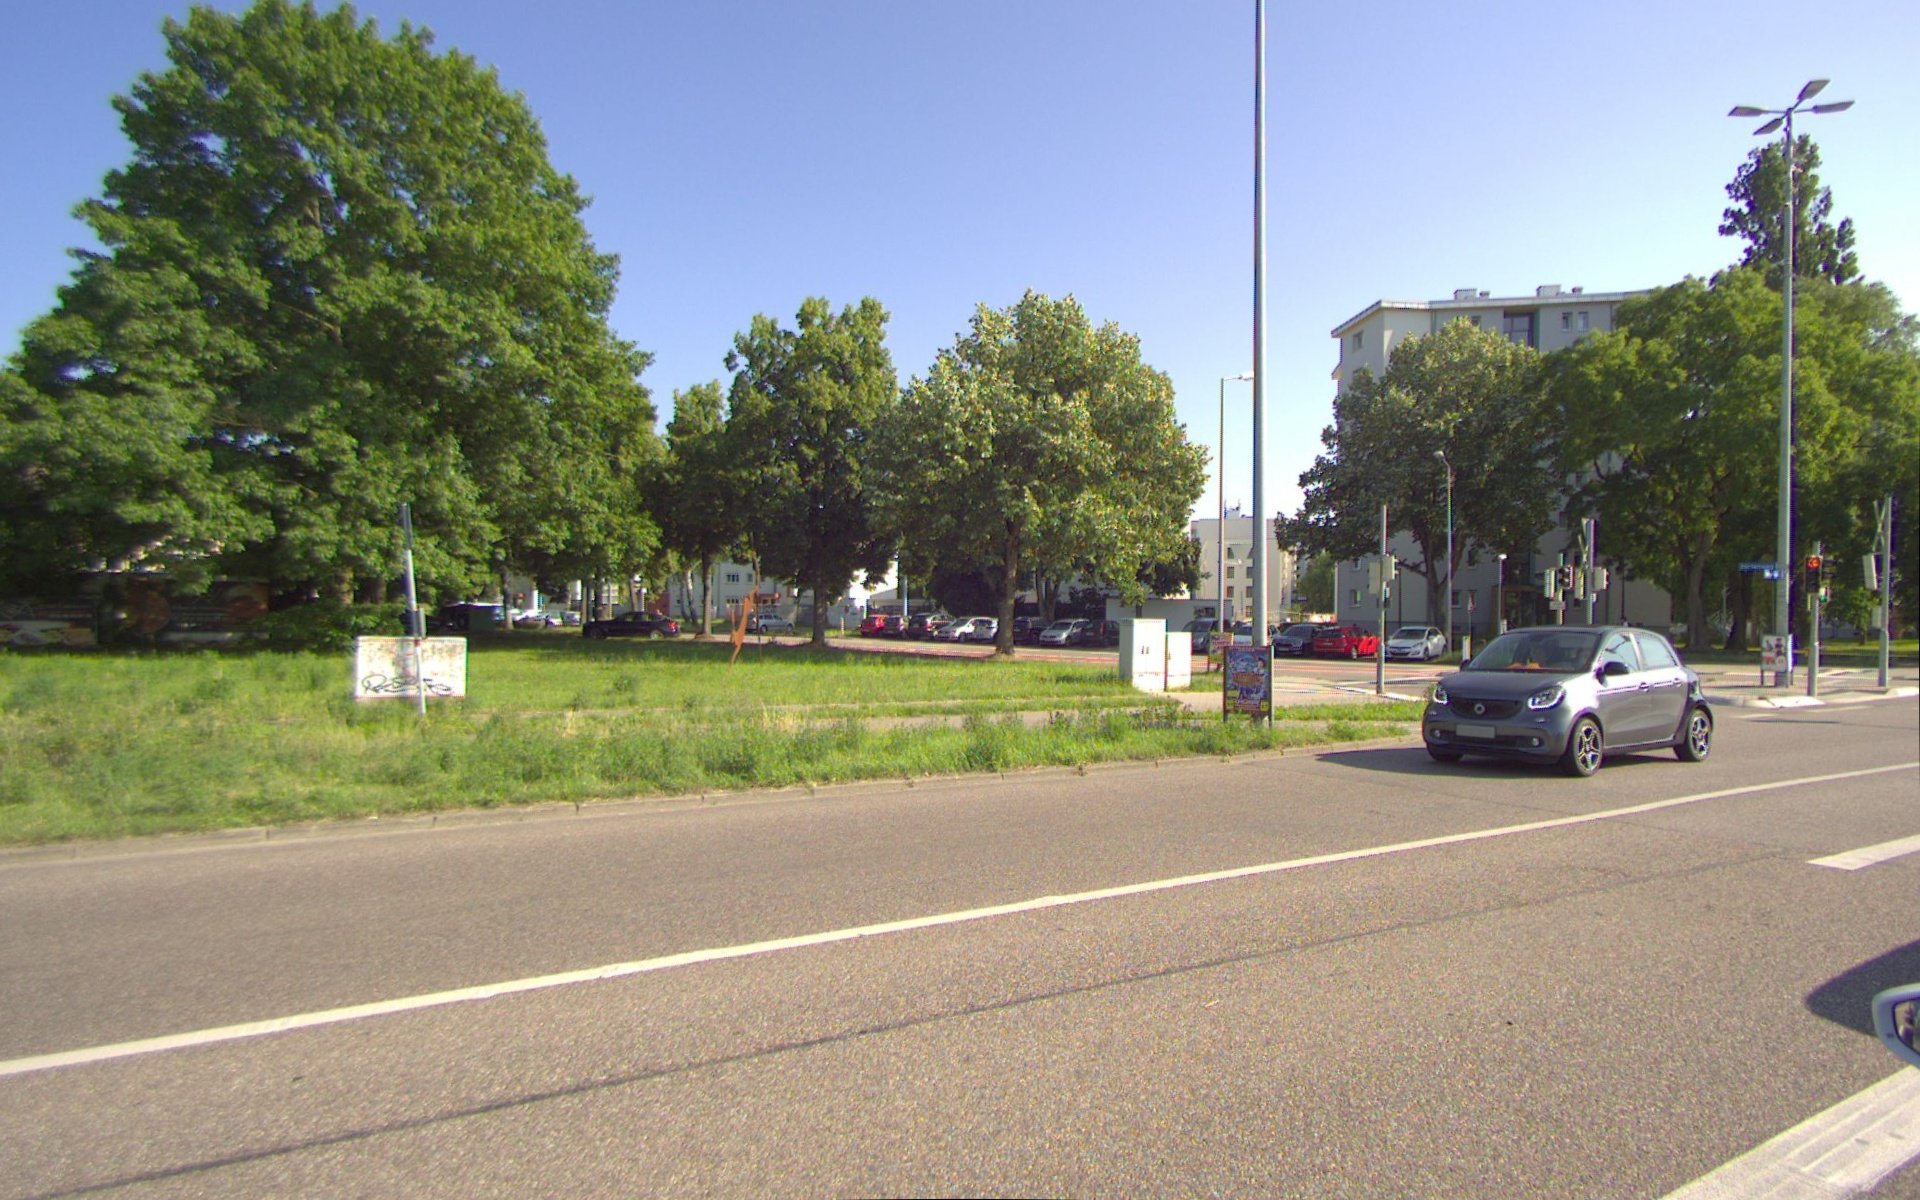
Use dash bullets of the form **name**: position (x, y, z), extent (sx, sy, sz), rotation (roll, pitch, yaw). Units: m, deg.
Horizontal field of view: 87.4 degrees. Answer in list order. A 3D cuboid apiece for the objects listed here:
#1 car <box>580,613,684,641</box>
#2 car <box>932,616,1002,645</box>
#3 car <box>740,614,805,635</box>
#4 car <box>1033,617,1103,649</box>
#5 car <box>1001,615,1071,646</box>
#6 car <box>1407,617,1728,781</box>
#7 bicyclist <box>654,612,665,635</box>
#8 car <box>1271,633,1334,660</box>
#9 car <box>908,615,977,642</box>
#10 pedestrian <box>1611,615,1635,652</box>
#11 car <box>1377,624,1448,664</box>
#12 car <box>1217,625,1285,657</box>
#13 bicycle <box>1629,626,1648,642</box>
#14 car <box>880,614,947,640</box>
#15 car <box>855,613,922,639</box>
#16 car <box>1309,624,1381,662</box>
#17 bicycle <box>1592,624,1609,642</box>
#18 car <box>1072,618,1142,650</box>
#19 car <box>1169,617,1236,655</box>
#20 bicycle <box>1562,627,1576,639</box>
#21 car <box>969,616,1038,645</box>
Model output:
- **car**: position (-16.267, 1.328, 49.927), extent (4.682, 1.338, 1.524), rotation (1, -1, -8)
- **car**: position (0.495, 1.864, 62.694), extent (1.758, 1.497, 4.791), rotation (0, 2, 39)
- **car**: position (-14.215, 1.860, 76.307), extent (1.760, 1.497, 4.786), rotation (0, -1, 43)
- **car**: position (6.254, 1.838, 57.801), extent (1.758, 1.497, 4.692), rotation (0, 3, 39)
- **car**: position (4.594, 1.798, 59.877), extent (1.758, 1.497, 4.791), rotation (0, 3, 39)
- **car**: position (6.933, 1.023, 11.409), extent (3.634, 1.581, 1.625), rotation (1, -2, -31)
- **bicyclist**: position (-20.440, 1.599, 68.310), extent (0.611, 1.544, 0.622), rotation (-1, 1, -33)
- **car**: position (16.624, 2.206, 48.672), extent (1.445, 1.209, 3.765), rotation (0, -1, 43)
- **car**: position (-1.077, 1.814, 64.618), extent (1.758, 1.497, 4.791), rotation (0, 2, 39)
- **pedestrian**: position (31.461, 1.593, 47.655), extent (0.693, 1.736, 0.623), rotation (-1, 0, -18)
- **car**: position (20.424, 1.937, 45.294), extent (1.760, 1.459, 3.977), rotation (0, 2, 43)
- **car**: position (14.688, 2.022, 50.558), extent (1.759, 1.541, 3.979), rotation (0, -1, 41)
- **bicycle**: position (42.662, 2.138, 63.164), extent (0.658, 0.932, 2.404), rotation (1, -1, 26)
- **car**: position (-3.058, 1.756, 66.870), extent (1.758, 1.497, 4.791), rotation (0, 2, 39)
- **car**: position (-4.822, 1.749, 68.337), extent (1.758, 1.497, 4.791), rotation (0, 2, 39)
- **car**: position (18.183, 1.973, 47.399), extent (1.761, 1.435, 3.975), rotation (0, 3, 44)
- **bicycle**: position (40.743, 2.091, 63.899), extent (0.601, 1.080, 1.916), rotation (1, -2, 24)
- **car**: position (8.410, 1.894, 57.148), extent (1.758, 1.497, 4.791), rotation (0, 2, 39)
- **car**: position (12.666, 1.849, 52.395), extent (1.759, 1.835, 3.979), rotation (0, -1, 41)
- **bicycle**: position (39.349, 2.107, 64.936), extent (0.574, 0.718, 2.236), rotation (1, 0, 25)
- **car**: position (2.693, 1.820, 61.452), extent (1.758, 1.497, 4.755), rotation (0, 2, 39)
